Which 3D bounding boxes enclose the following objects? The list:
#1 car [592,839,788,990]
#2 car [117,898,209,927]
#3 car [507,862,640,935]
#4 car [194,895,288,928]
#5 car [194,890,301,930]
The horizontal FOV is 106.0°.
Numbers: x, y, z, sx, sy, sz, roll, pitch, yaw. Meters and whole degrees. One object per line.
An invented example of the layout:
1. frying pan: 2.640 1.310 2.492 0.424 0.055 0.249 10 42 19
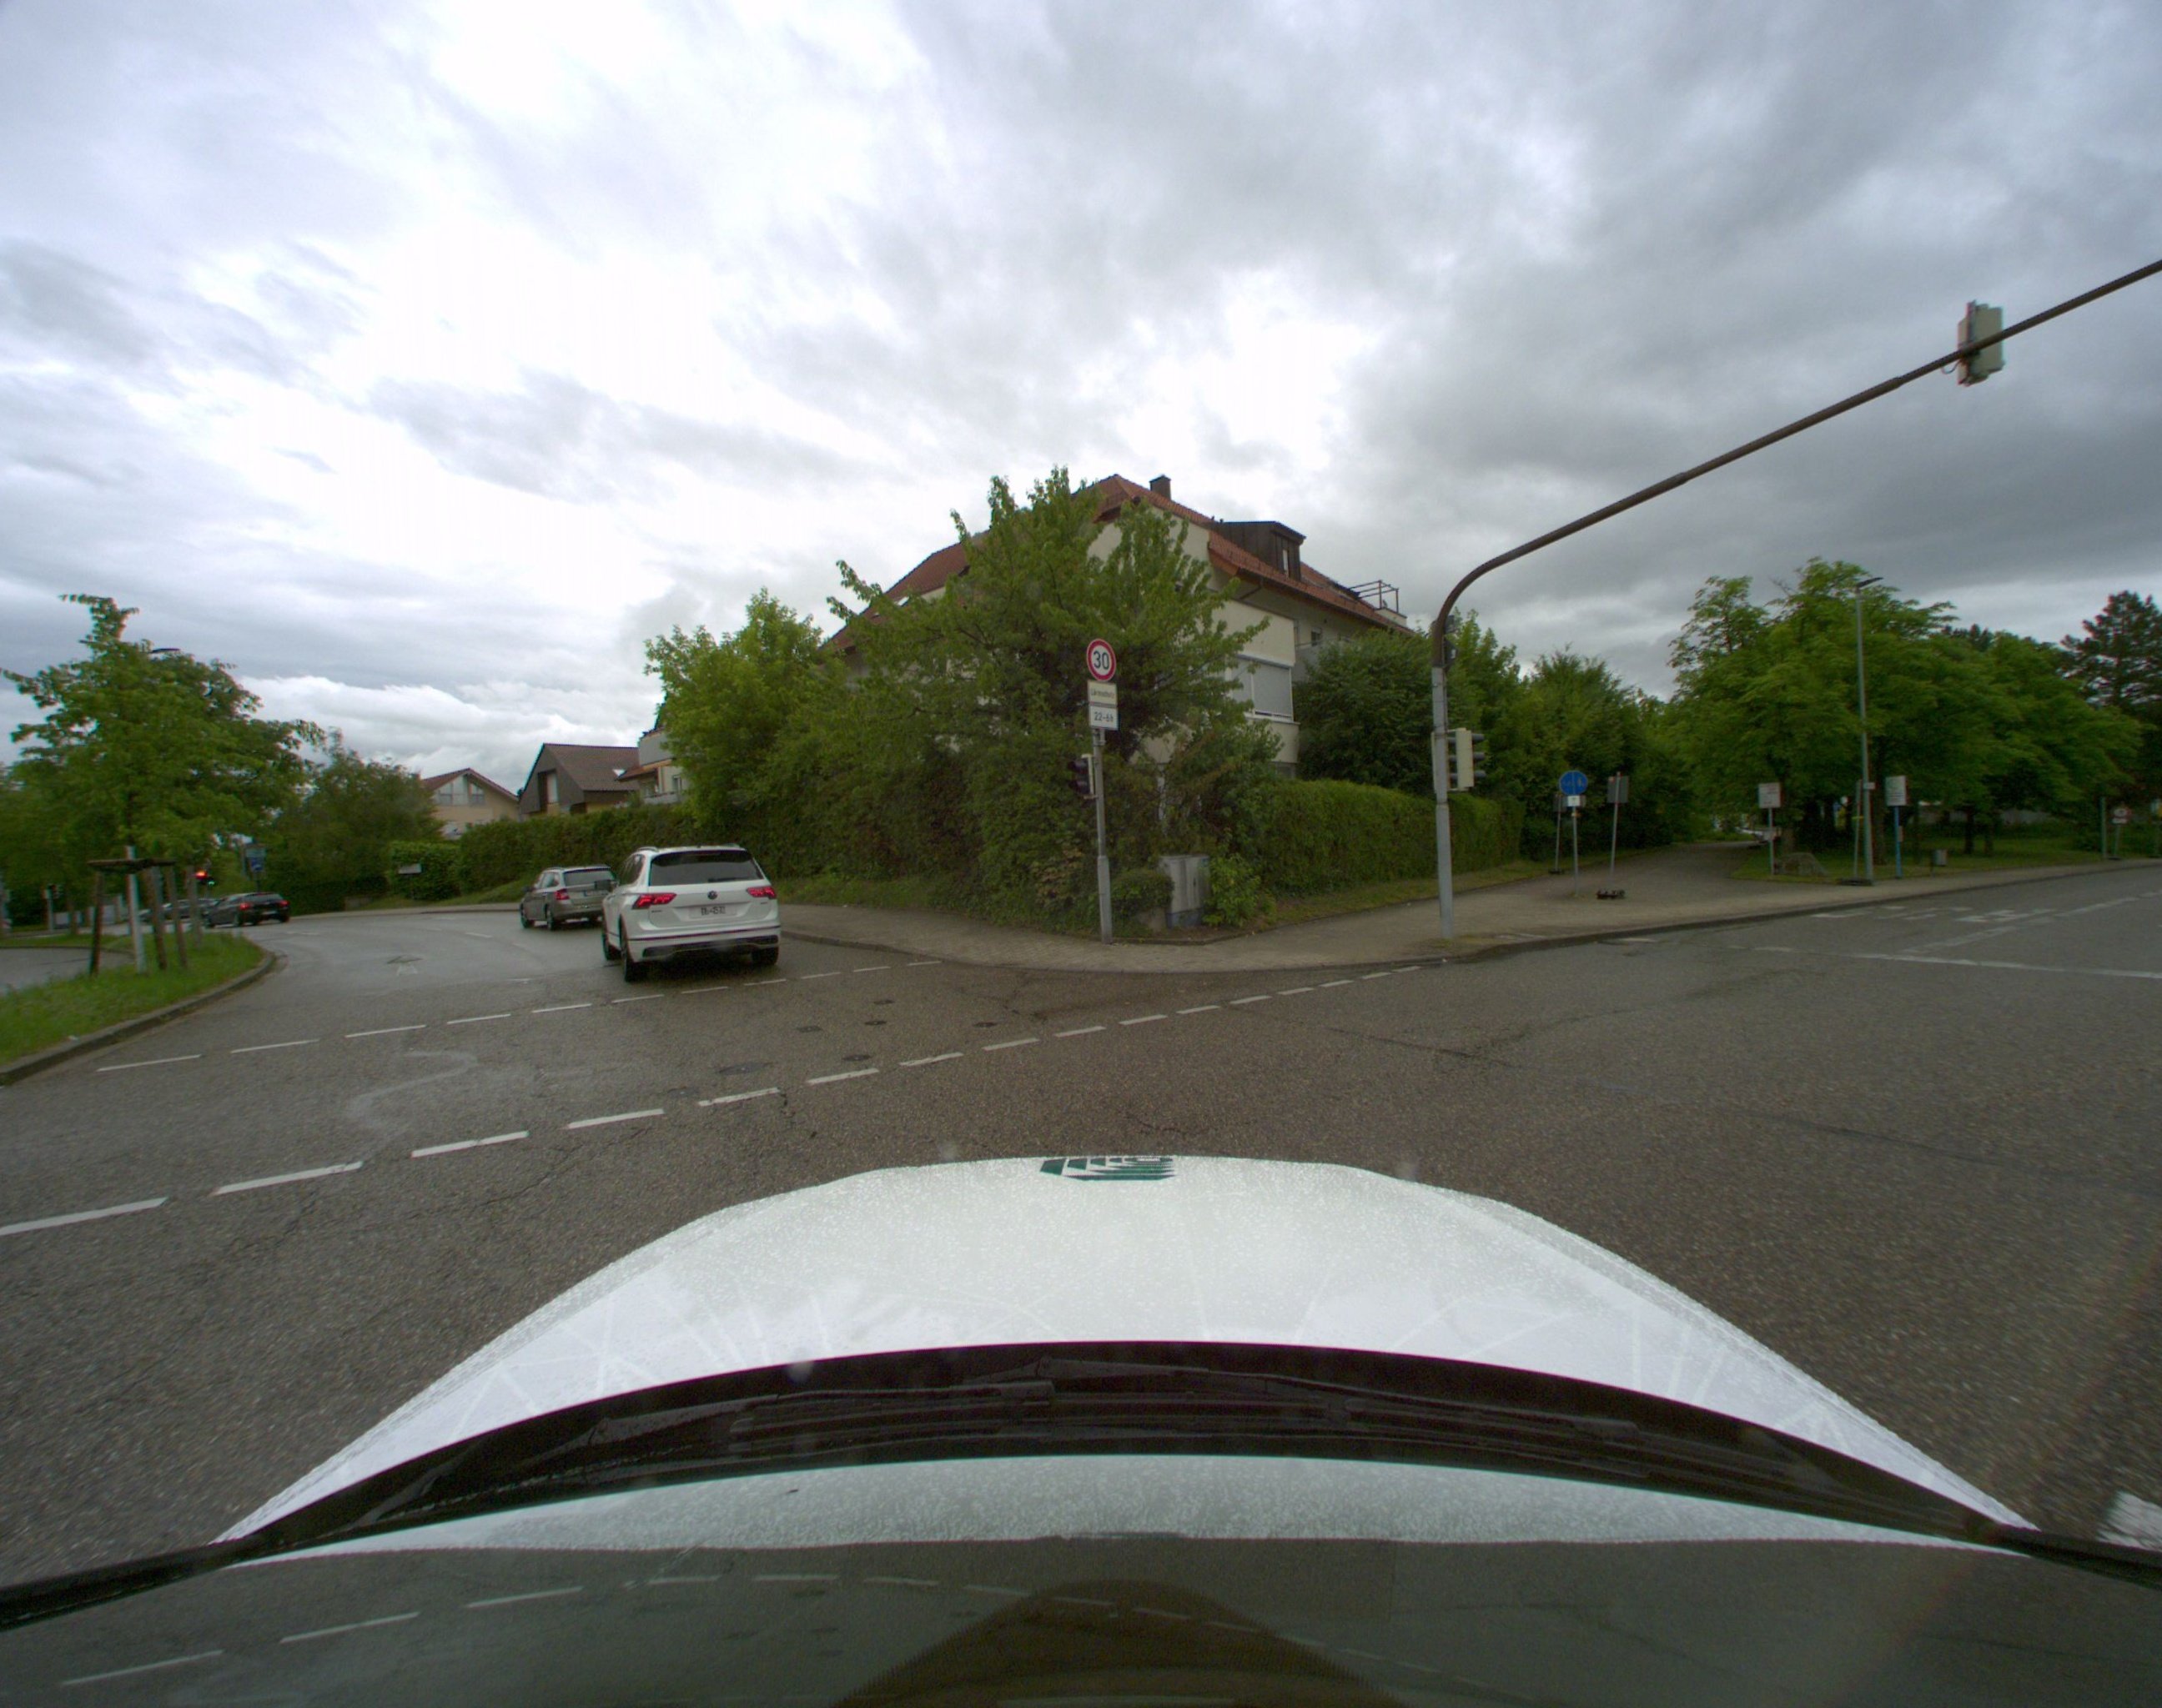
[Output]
1. car: -5.666 0.713 11.507 1.776 1.696 4.226 -2 0 -35
2. car: -67.286 4.279 59.733 1.707 1.526 4.106 -1 4 29
3. car: -12.625 1.018 20.165 3.876 1.589 1.815 -1 0 43
4. car: -56.973 3.876 55.316 1.707 1.896 4.105 -1 0 29
5. car: -38.382 2.585 37.507 3.955 1.479 1.774 -4 0 18
